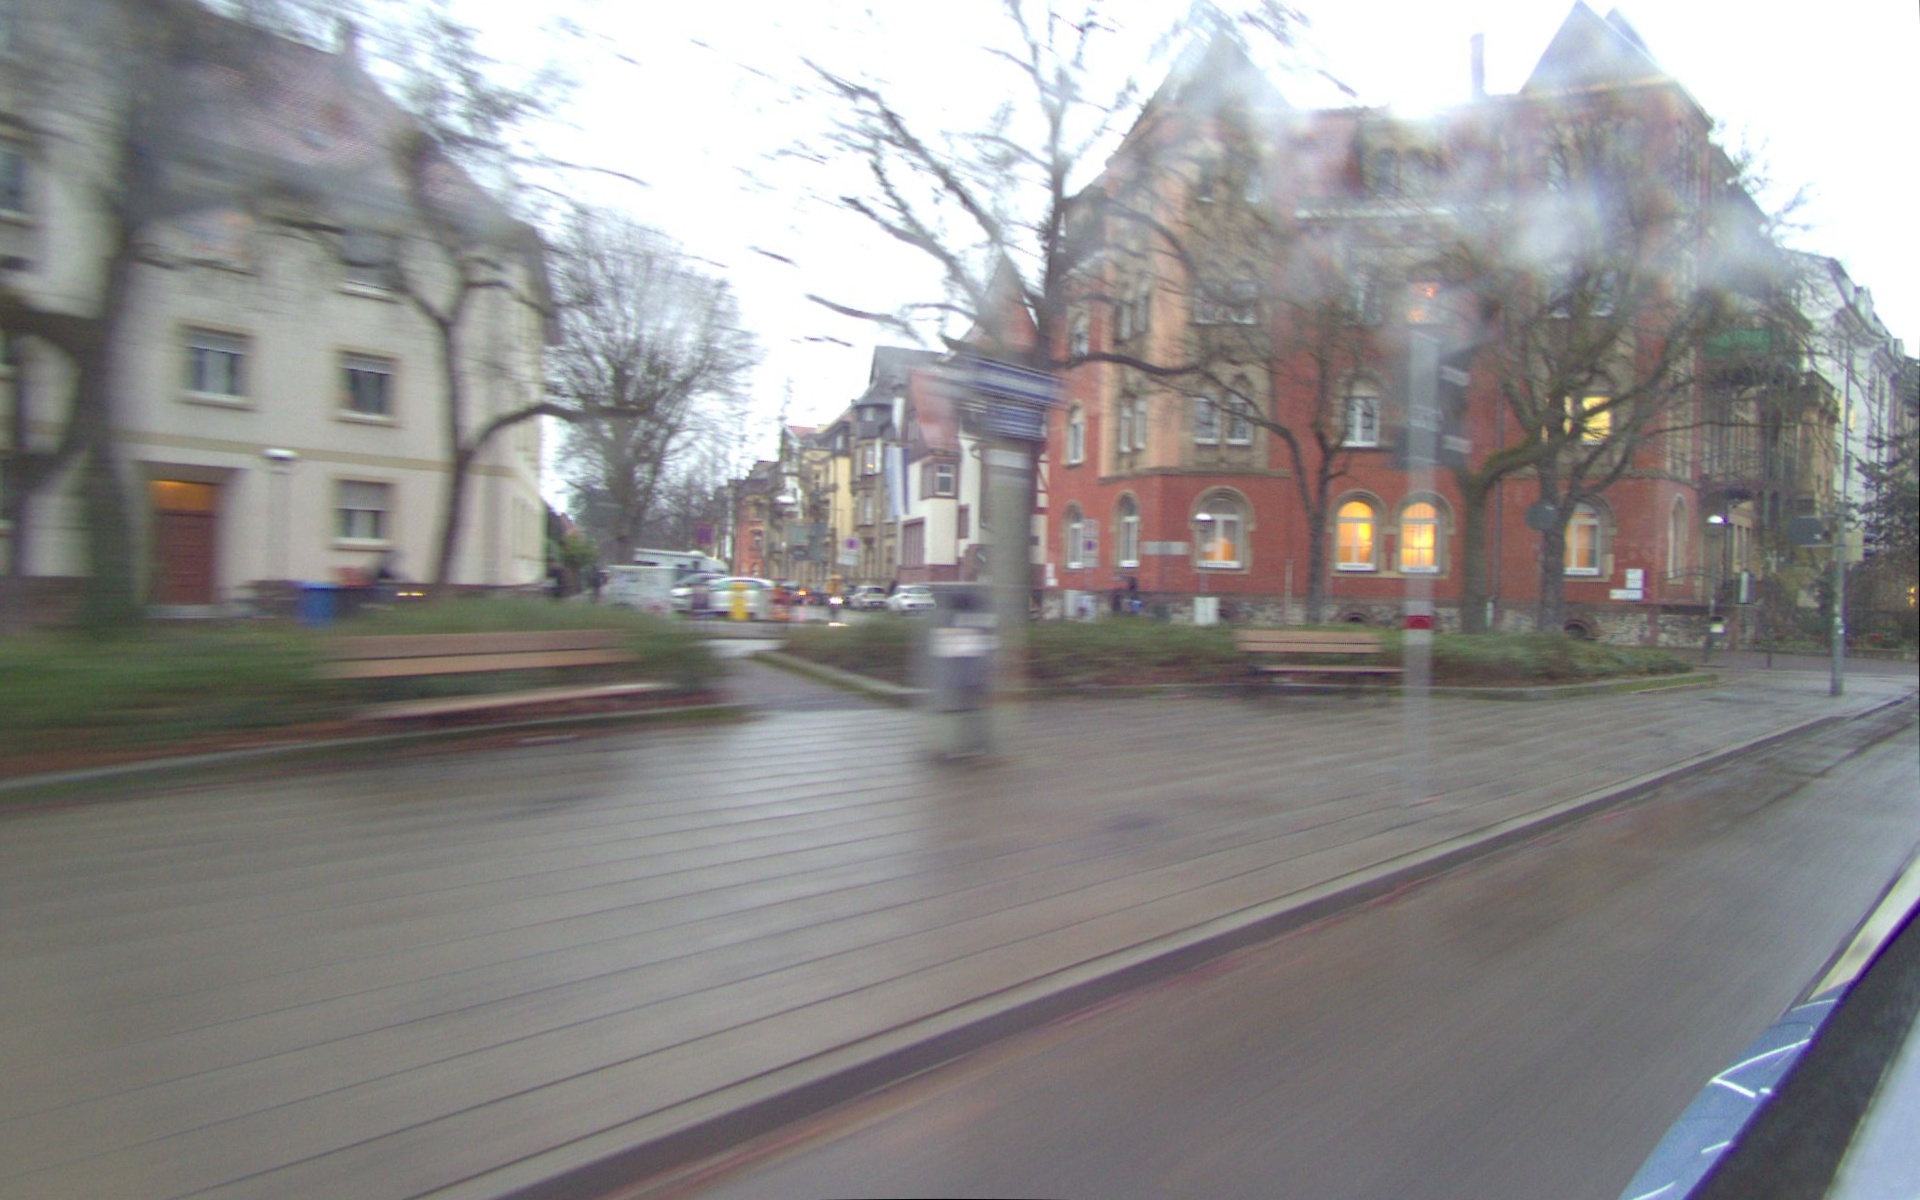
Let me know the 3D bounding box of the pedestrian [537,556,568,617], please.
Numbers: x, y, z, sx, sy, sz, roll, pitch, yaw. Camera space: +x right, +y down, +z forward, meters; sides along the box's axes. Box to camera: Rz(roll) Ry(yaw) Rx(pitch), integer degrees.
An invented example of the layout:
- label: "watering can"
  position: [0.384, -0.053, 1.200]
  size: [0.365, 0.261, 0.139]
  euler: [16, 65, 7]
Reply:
- label: "pedestrian"
  position: [-11.405, -0.387, 28.342]
  size: [0.744, 1.663, 1.125]
  euler: [1, 1, -20]

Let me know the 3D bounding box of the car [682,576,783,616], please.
- label: "car"
  position: [-9.289, -0.181, 41.443]
  size: [3.916, 1.494, 1.855]
  euler: [1, 1, -12]

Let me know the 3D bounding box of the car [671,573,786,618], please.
- label: "car"
  position: [-8.319, -0.160, 36.540]
  size: [3.916, 1.504, 1.855]
  euler: [1, 1, -12]

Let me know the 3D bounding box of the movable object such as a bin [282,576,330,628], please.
- label: "movable object such as a bin"
  position: [-12.834, 0.036, 19.852]
  size: [0.526, 0.993, 0.642]
  euler: [2, 1, 37]

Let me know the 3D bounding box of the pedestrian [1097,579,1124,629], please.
- label: "pedestrian"
  position: [4.762, 0.122, 32.079]
  size: [0.630, 1.546, 0.548]
  euler: [1, -1, -19]

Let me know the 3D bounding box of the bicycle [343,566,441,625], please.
- label: "bicycle"
  position: [-12.963, -0.095, 23.145]
  size: [1.880, 1.307, 0.467]
  euler: [1, 1, -41]

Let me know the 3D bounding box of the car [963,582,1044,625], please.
- label: "car"
  position: [1.599, 0.097, 38.677]
  size: [1.613, 1.514, 4.009]
  euler: [2, 1, -21]

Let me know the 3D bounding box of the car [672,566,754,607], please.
- label: "car"
  position: [-12.352, -0.669, 50.765]
  size: [3.916, 1.958, 1.855]
  euler: [1, 0, -12]

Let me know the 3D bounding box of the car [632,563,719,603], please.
- label: "car"
  position: [-15.447, -0.942, 54.925]
  size: [4.237, 2.039, 2.004]
  euler: [1, 1, -23]

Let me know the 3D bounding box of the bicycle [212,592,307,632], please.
- label: "bicycle"
  position: [-14.304, 0.245, 20.684]
  size: [1.563, 0.775, 0.339]
  euler: [0, 1, -44]

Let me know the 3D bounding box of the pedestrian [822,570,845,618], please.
- label: "pedestrian"
  position: [-5.036, -0.253, 40.265]
  size: [0.797, 1.887, 0.880]
  euler: [1, 1, -13]

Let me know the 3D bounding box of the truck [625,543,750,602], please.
- label: "truck"
  position: [-15.634, -1.557, 58.033]
  size: [6.592, 3.131, 2.639]
  euler: [1, 1, -22]

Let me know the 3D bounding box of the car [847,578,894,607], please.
- label: "car"
  position: [-5.249, -0.454, 59.087]
  size: [1.689, 1.526, 4.009]
  euler: [2, 1, -21]

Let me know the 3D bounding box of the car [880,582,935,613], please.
- label: "car"
  position: [-2.693, -0.155, 51.168]
  size: [1.613, 1.415, 4.009]
  euler: [2, 1, -21]

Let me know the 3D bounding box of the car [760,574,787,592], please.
- label: "car"
  position: [-17.198, -1.575, 93.176]
  size: [1.689, 1.590, 4.009]
  euler: [2, 1, -21]

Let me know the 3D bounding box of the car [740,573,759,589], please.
- label: "car"
  position: [-22.897, -2.096, 110.086]
  size: [1.541, 1.590, 4.009]
  euler: [2, 1, -18]

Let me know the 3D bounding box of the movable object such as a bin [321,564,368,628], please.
- label: "movable object such as a bin"
  position: [-12.396, -0.086, 20.377]
  size: [0.526, 1.244, 0.642]
  euler: [2, 1, 37]

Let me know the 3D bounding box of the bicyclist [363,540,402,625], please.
- label: "bicyclist"
  position: [-13.122, -0.400, 22.991]
  size: [0.667, 1.910, 0.467]
  euler: [1, 1, -41]

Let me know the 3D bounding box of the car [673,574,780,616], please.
- label: "car"
  position: [-8.999, -0.197, 39.109]
  size: [3.916, 1.494, 1.855]
  euler: [1, 1, -12]

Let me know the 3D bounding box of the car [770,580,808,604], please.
- label: "car"
  position: [-11.891, -0.543, 70.283]
  size: [1.930, 1.498, 4.007]
  euler: [1, -1, -19]

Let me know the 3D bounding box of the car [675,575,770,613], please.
- label: "car"
  position: [-10.286, -0.260, 43.961]
  size: [3.916, 1.494, 1.855]
  euler: [1, 1, -12]

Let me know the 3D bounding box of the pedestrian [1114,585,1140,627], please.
- label: "pedestrian"
  position: [5.344, 0.190, 32.371]
  size: [0.596, 1.333, 0.548]
  euler: [1, -1, -20]

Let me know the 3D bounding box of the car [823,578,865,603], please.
- label: "car"
  position: [-7.467, -0.622, 64.917]
  size: [1.689, 1.517, 4.009]
  euler: [2, 1, -21]
